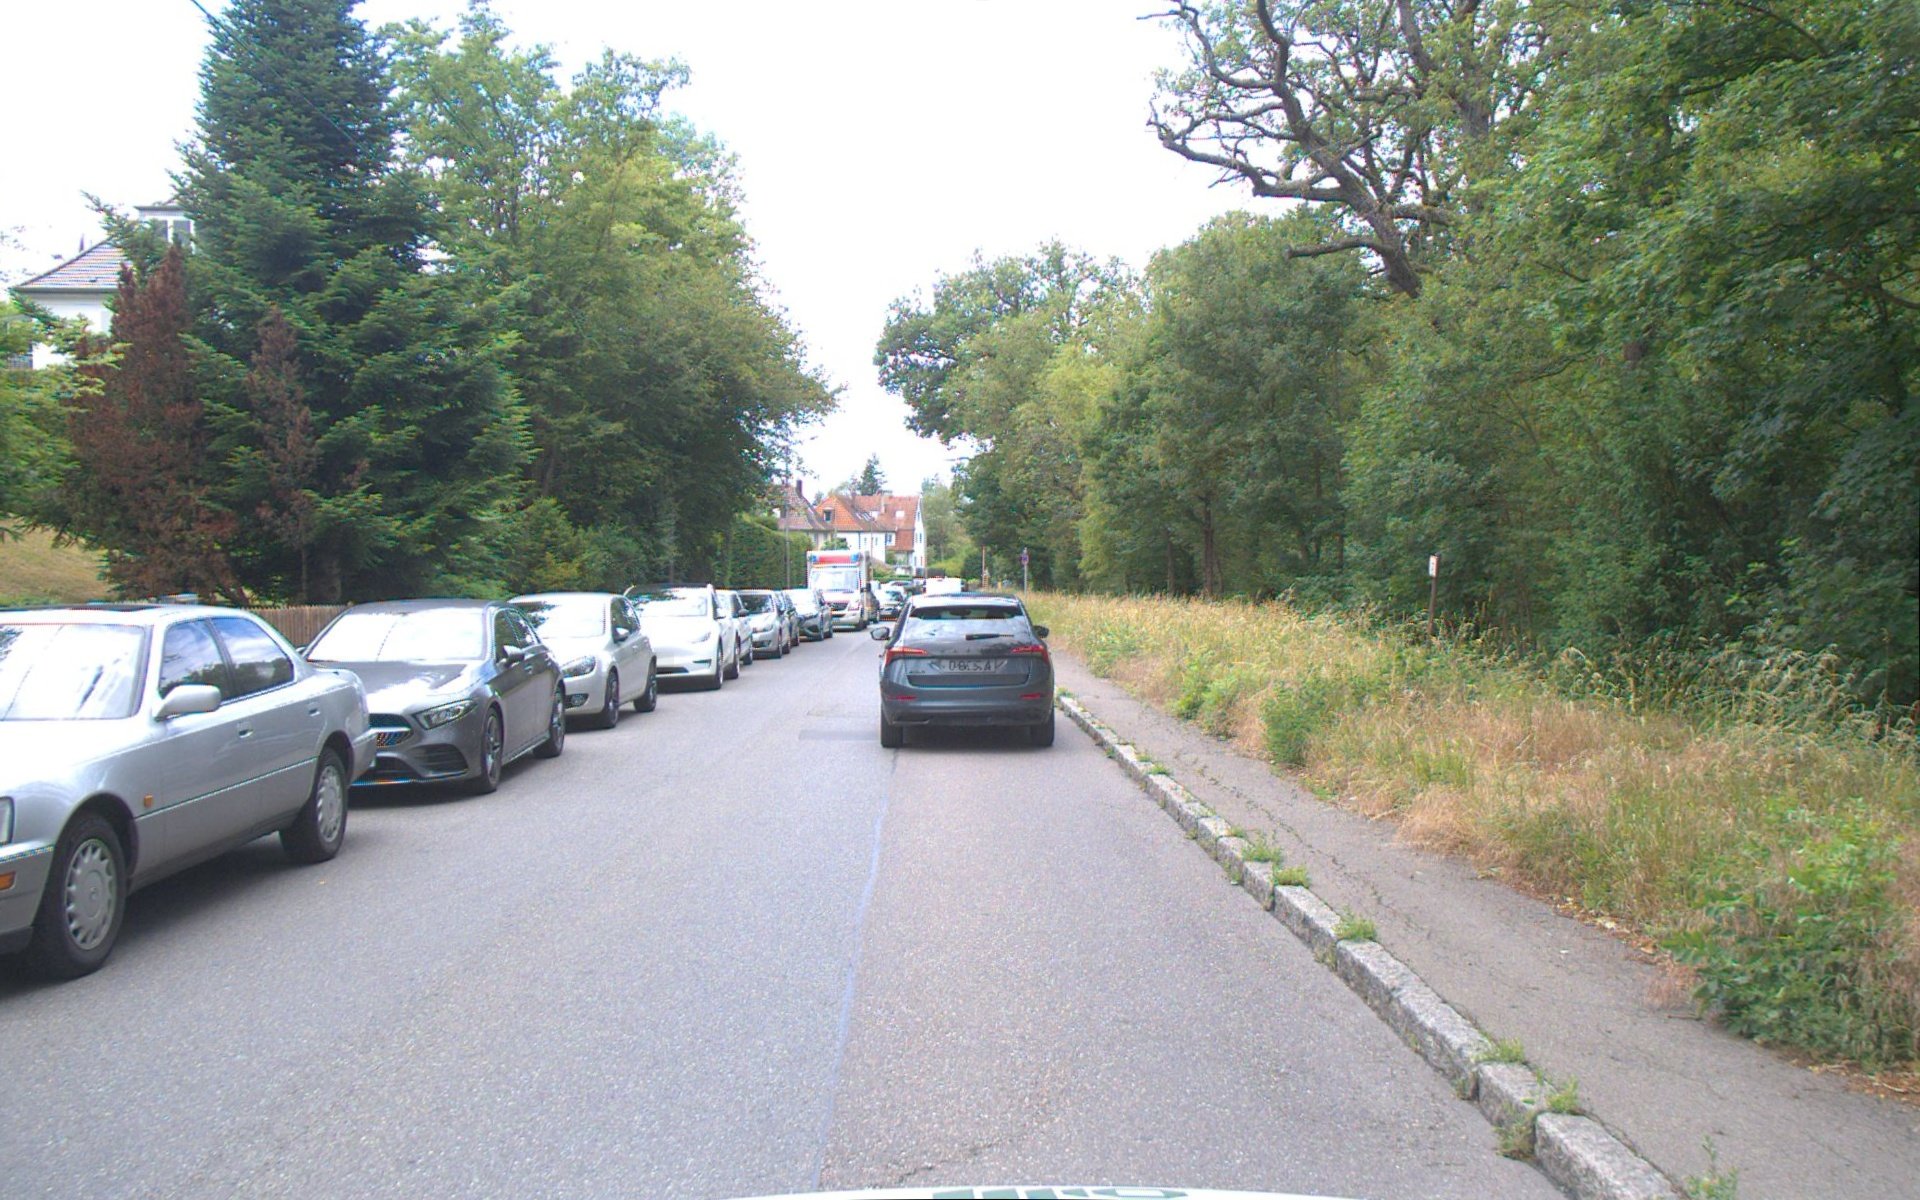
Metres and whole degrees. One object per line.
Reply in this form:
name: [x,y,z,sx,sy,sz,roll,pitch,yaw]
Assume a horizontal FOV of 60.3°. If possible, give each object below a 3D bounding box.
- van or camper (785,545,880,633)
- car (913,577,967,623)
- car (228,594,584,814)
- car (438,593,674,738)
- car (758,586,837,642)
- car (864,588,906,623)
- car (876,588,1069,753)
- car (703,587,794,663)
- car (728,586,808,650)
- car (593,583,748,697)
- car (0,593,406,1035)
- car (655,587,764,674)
van or camper: [-4.503,-0.403,59.912,2.404,2.945,7.171,-1,0,4]
car: [-0.921,-0.028,72.361,2.031,1.956,4.918,1,1,-4]
car: [-4.301,0.708,13.545,1.700,1.464,4.259,-1,0,-4]
car: [-4.603,0.677,19.446,1.797,1.464,4.116,-1,0,-1]
car: [-4.824,0.391,49.662,1.761,1.531,4.864,-2,0,1]
car: [-3.521,0.236,78.239,1.727,1.471,4.474,-1,2,0]
car: [0.011,0.633,17.328,1.694,1.464,4.321,1,1,-4]
car: [-4.667,0.518,36.937,1.686,1.531,4.005,-2,0,-3]
car: [-5.029,0.446,43.665,1.686,1.531,4.059,-2,0,-2]
car: [-4.518,0.558,26.469,1.878,1.589,4.601,-2,1,-4]
car: [-4.236,0.725,7.752,1.811,1.464,4.908,-1,0,-3]
car: [-4.846,0.545,32.399,1.686,1.531,3.815,-2,1,-3]
